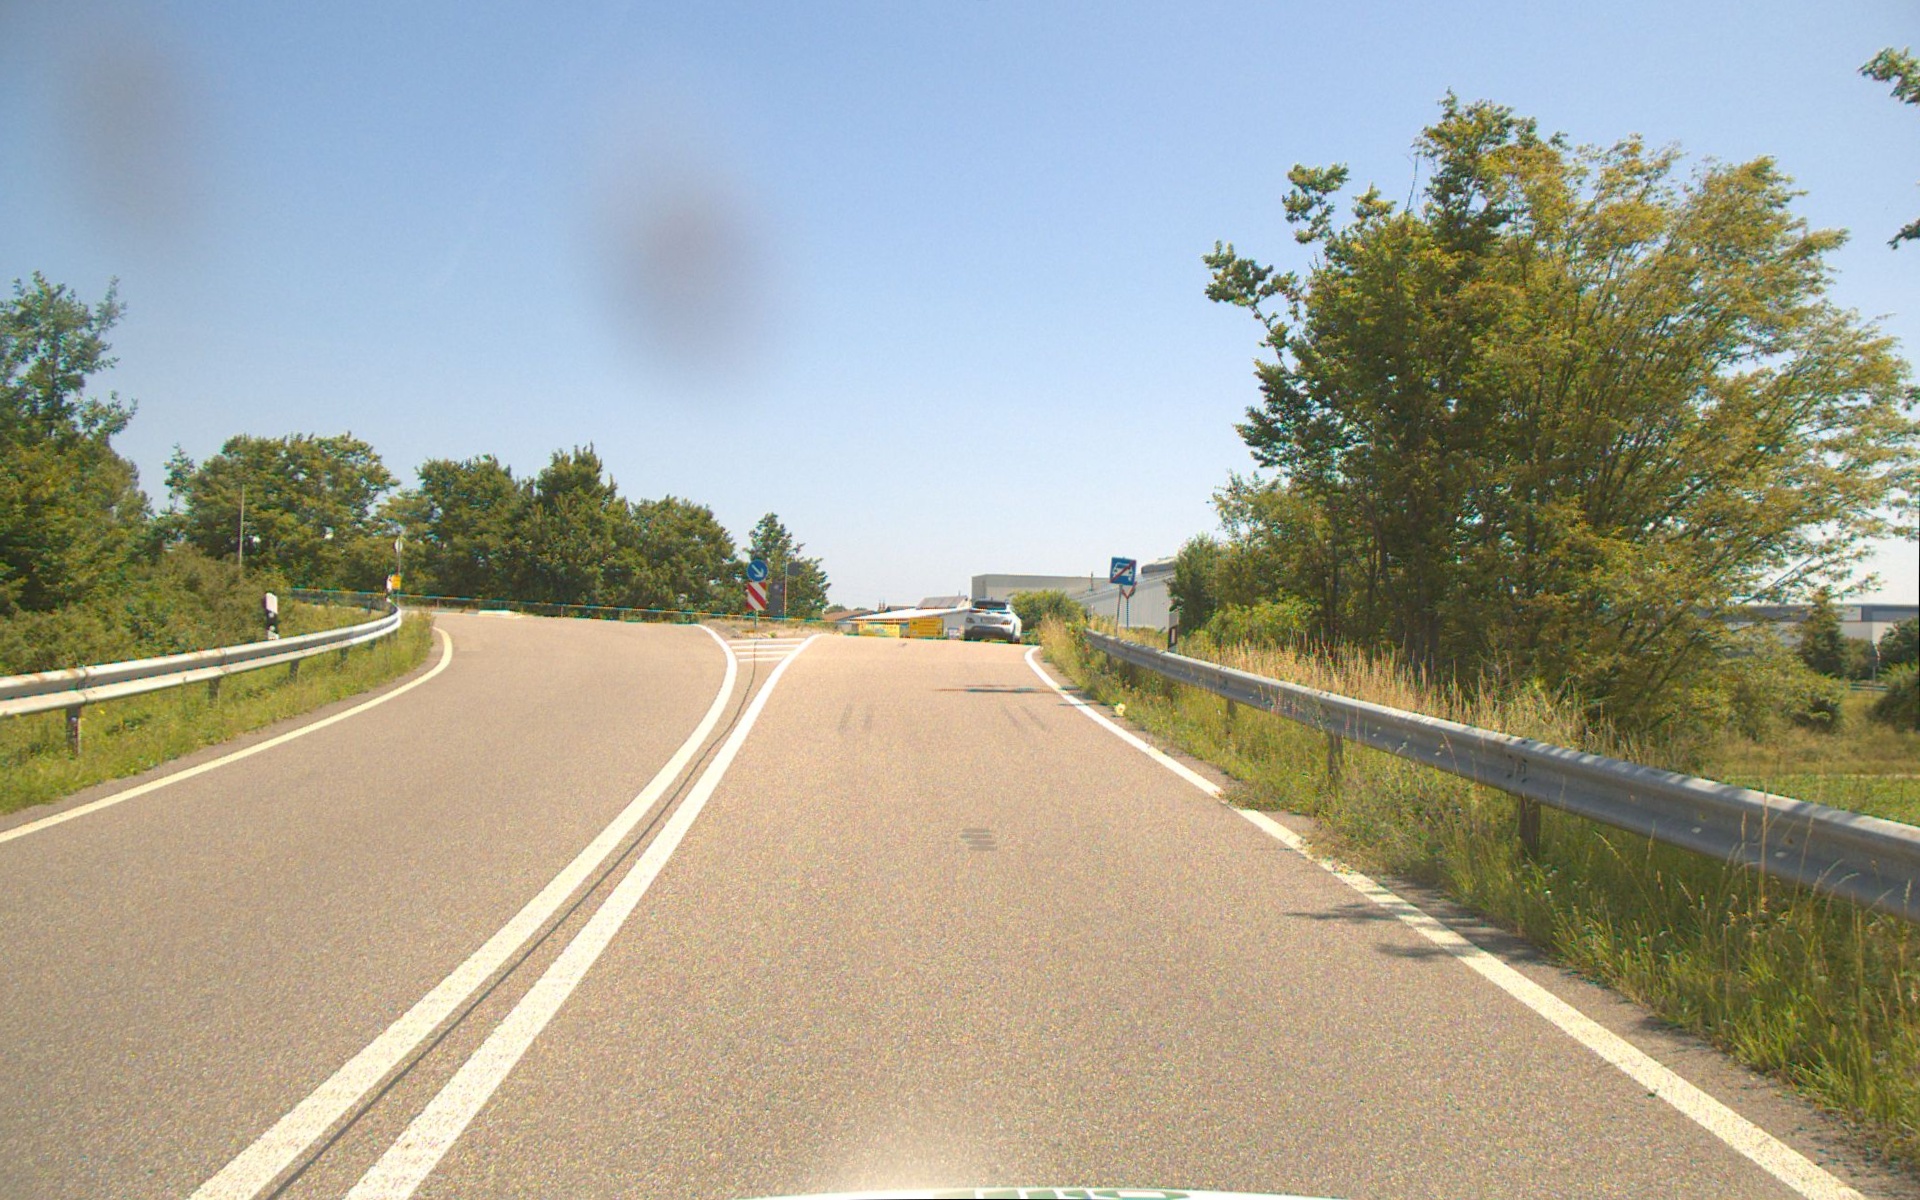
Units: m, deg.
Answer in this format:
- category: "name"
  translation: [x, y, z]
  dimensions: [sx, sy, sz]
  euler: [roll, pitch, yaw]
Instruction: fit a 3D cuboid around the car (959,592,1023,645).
- category: "car"
  translation: [1.174, 0.697, 60.139]
  dimensions: [1.770, 1.720, 4.003]
  euler: [3, -1, 8]
